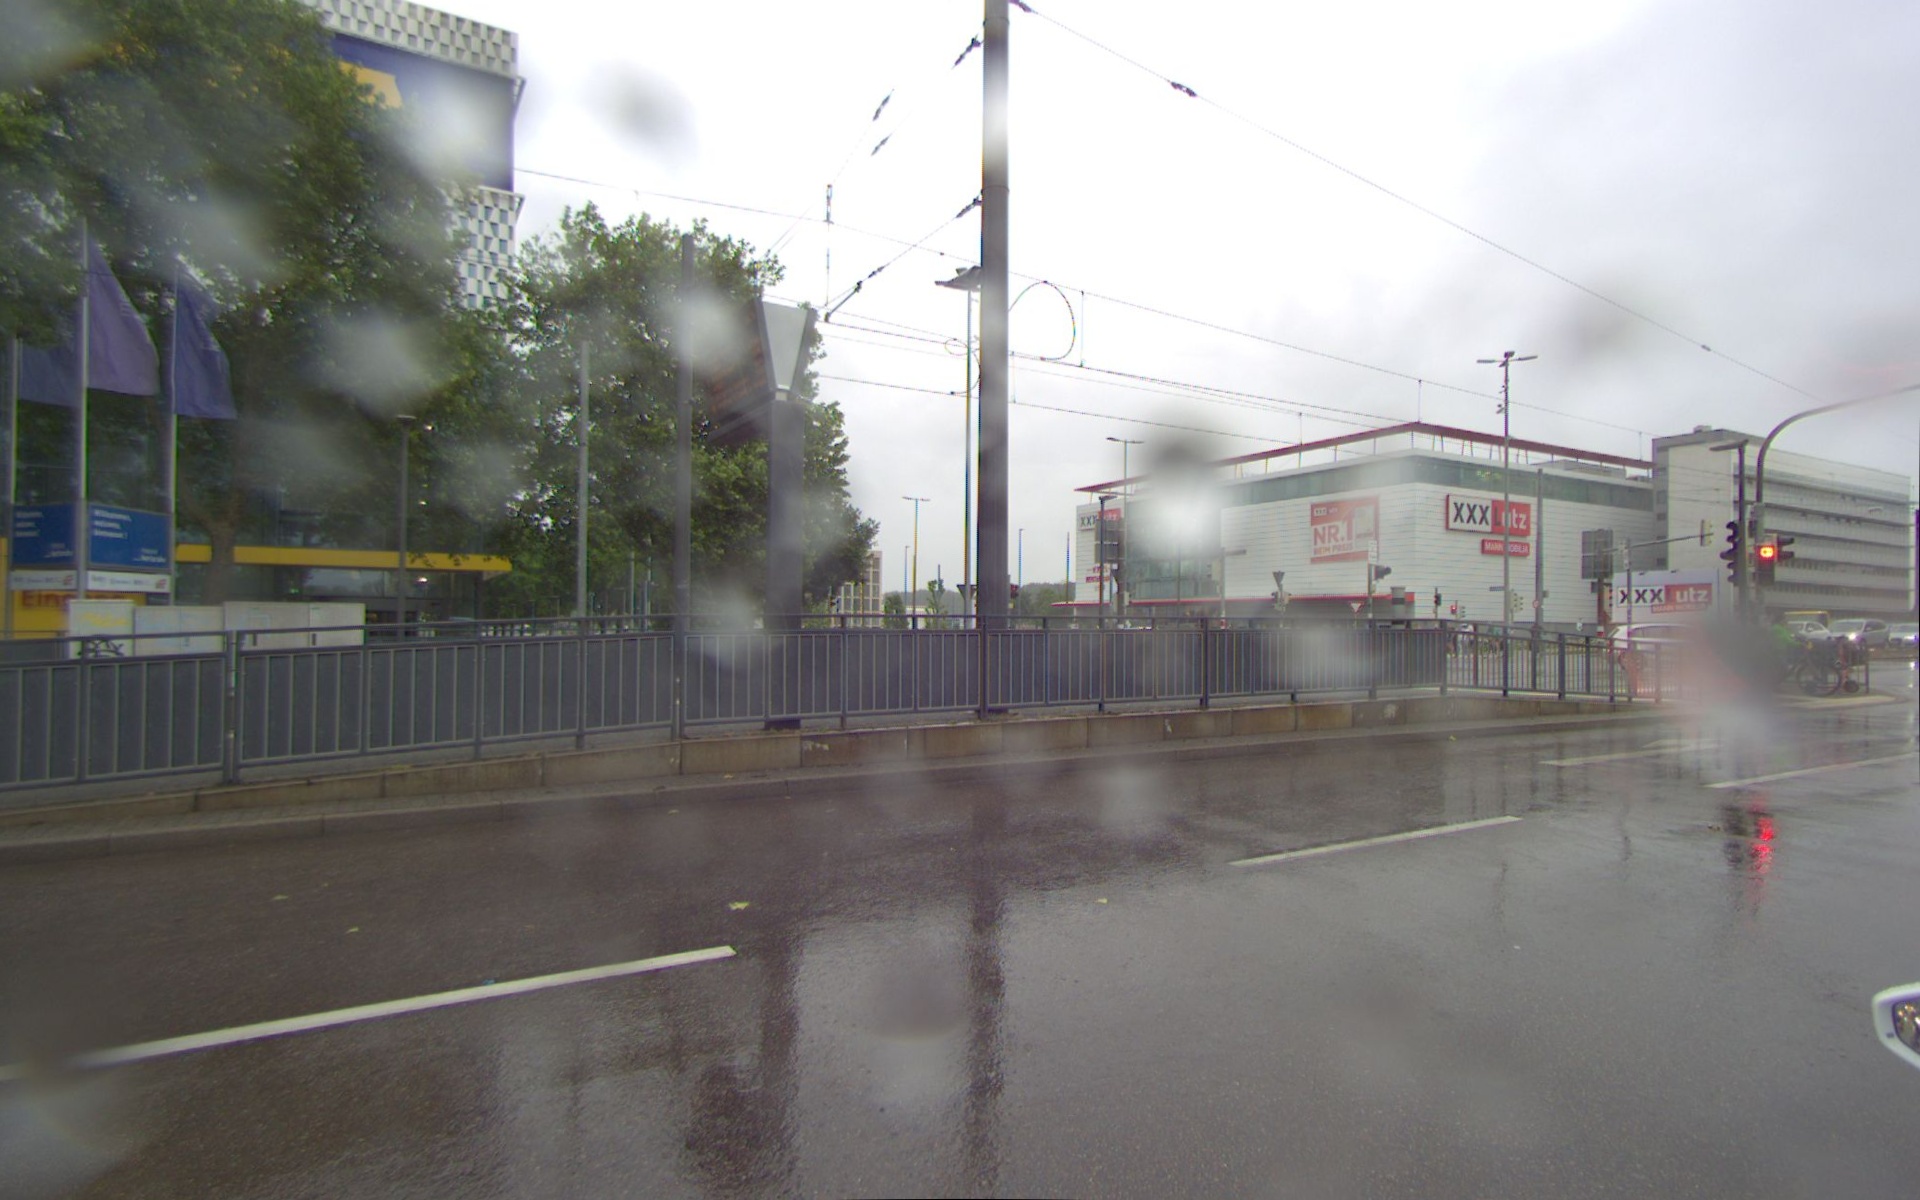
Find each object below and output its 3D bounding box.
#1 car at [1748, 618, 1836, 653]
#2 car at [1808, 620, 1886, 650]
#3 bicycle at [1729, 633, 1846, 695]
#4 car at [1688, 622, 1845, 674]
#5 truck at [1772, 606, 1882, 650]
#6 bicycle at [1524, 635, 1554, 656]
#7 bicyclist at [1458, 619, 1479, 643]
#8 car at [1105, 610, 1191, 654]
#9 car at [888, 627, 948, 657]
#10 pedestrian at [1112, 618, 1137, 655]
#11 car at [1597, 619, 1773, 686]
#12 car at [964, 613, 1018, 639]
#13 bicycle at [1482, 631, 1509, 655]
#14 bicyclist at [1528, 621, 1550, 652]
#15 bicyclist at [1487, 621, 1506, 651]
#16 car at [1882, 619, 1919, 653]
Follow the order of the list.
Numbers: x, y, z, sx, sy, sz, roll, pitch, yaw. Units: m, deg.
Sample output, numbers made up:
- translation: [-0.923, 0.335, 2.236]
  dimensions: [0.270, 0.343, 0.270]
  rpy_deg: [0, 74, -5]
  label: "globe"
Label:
- translation: [39.343, 1.669, 47.479]
  dimensions: [3.823, 1.512, 1.693]
  rpy_deg: [2, 0, -25]
  label: "car"
- translation: [44.564, 1.772, 50.460]
  dimensions: [3.780, 1.354, 1.582]
  rpy_deg: [2, 0, -26]
  label: "car"
- translation: [16.757, 1.274, 20.395]
  dimensions: [0.409, 1.048, 1.742]
  rpy_deg: [2, 3, -31]
  label: "bicycle"
- translation: [25.669, 1.487, 32.045]
  dimensions: [1.827, 1.429, 3.695]
  rpy_deg: [2, 0, -43]
  label: "car"
- translation: [49.314, 1.632, 57.073]
  dimensions: [7.542, 2.309, 2.341]
  rpy_deg: [2, 0, -30]
  label: "truck"
- translation: [28.382, 2.237, 49.210]
  dimensions: [1.688, 1.000, 0.448]
  rpy_deg: [2, 0, -30]
  label: "bicycle"
- translation: [24.978, 1.515, 49.320]
  dimensions: [0.639, 1.149, 0.681]
  rpy_deg: [2, 0, -29]
  label: "bicyclist"
- translation: [9.473, 1.575, 51.017]
  dimensions: [1.976, 2.040, 4.295]
  rpy_deg: [2, 0, -29]
  label: "car"
- translation: [-2.828, 2.750, 66.450]
  dimensions: [1.981, 1.656, 4.174]
  rpy_deg: [1, 2, -36]
  label: "car"
- translation: [7.045, 1.567, 42.960]
  dimensions: [0.863, 1.557, 0.560]
  rpy_deg: [2, 0, -31]
  label: "pedestrian"
- translation: [20.872, 1.466, 29.013]
  dimensions: [4.017, 1.682, 1.612]
  rpy_deg: [2, 0, 40]
  label: "car"
- translation: [2.187, 1.796, 70.210]
  dimensions: [3.723, 1.645, 2.001]
  rpy_deg: [2, 0, 2]
  label: "car"
- translation: [25.176, 2.023, 47.221]
  dimensions: [1.492, 1.075, 0.408]
  rpy_deg: [2, 0, -33]
  label: "bicycle"
- translation: [28.367, 1.787, 49.207]
  dimensions: [0.639, 1.483, 0.681]
  rpy_deg: [2, 0, -29]
  label: "bicyclist"
- translation: [25.191, 1.693, 47.159]
  dimensions: [0.643, 1.418, 0.529]
  rpy_deg: [2, 0, -33]
  label: "bicyclist"
- translation: [51.385, 1.955, 53.603]
  dimensions: [3.947, 1.722, 1.886]
  rpy_deg: [2, 0, -26]
  label: "car"
